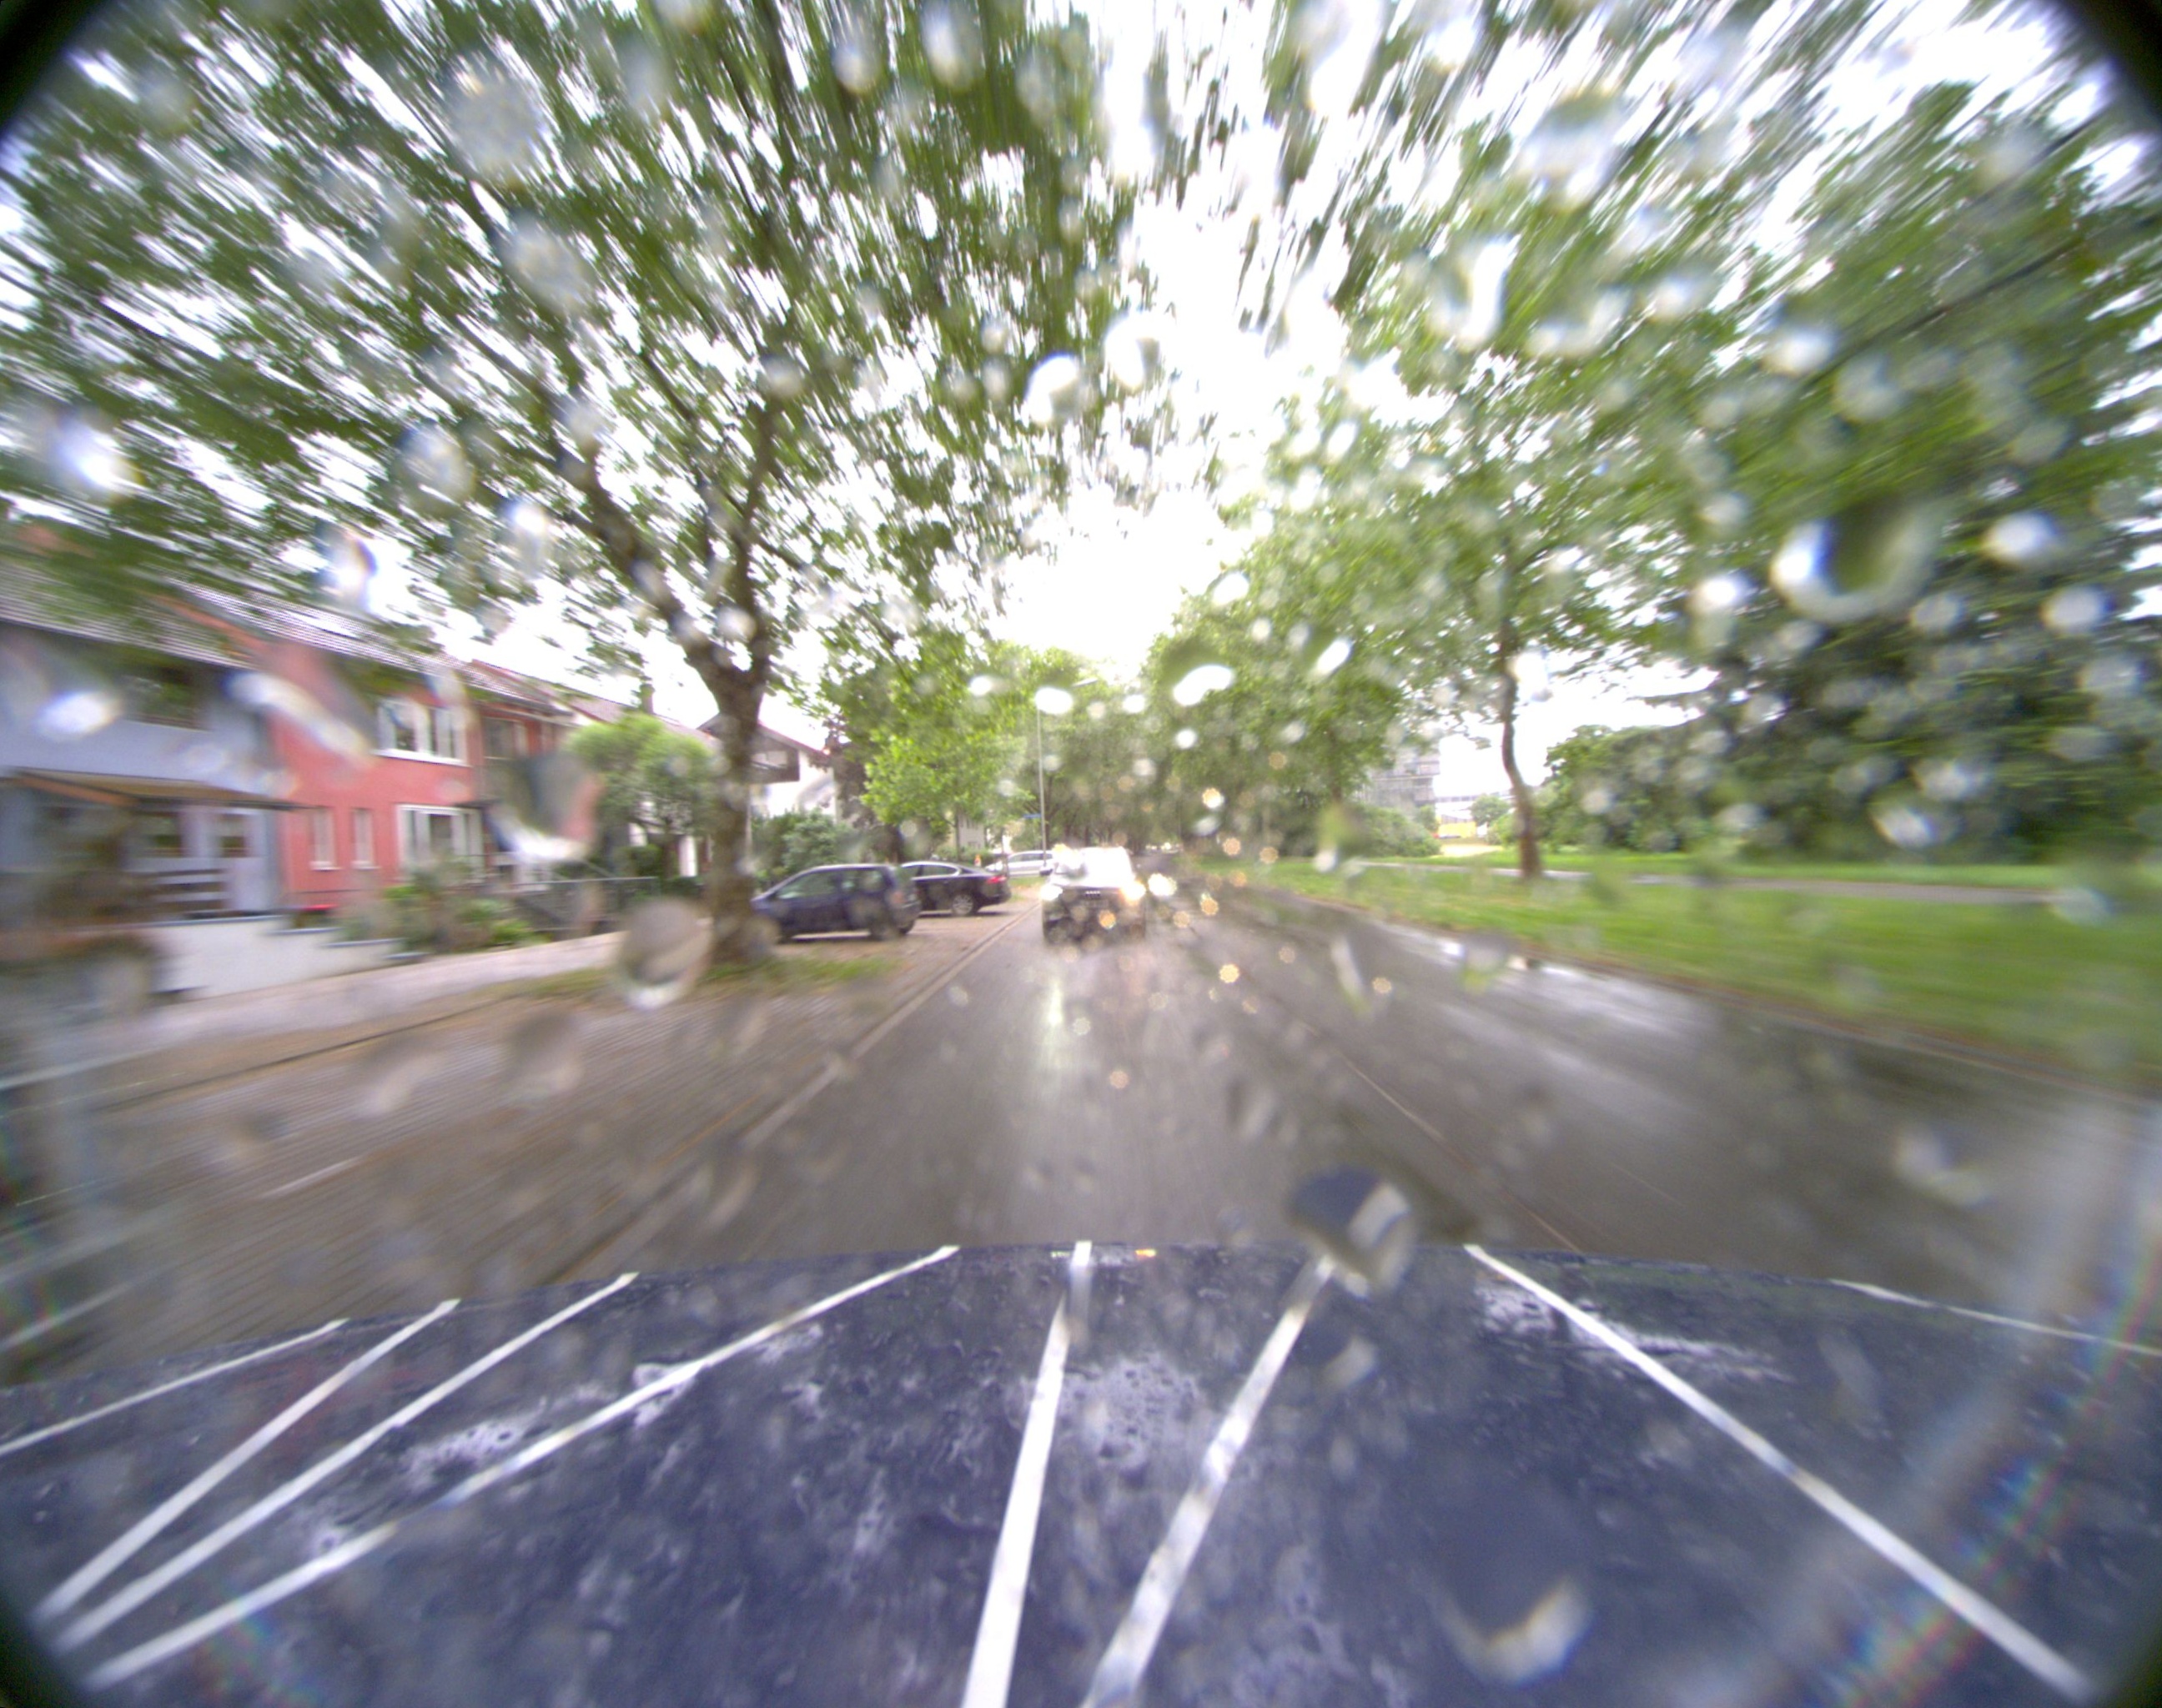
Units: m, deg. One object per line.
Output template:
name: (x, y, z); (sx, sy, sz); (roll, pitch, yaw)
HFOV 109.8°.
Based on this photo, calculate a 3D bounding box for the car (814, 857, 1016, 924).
car: (-4.149, 0.907, 19.637); (4.778, 1.464, 1.937); (-2, 0, -1)

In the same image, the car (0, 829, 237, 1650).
car: (-5.037, 0.938, 1.046); (5.353, 1.796, 1.844); (-2, 1, -4)

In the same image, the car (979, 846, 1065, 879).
car: (-3.350, 0.485, 43.798); (4.700, 1.651, 1.976); (-2, 0, 1)

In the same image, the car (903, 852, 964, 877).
car: (-10.481, 0.721, 54.207); (3.852, 1.603, 1.843); (-2, 0, 5)

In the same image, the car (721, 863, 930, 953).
car: (-4.795, 0.997, 14.557); (3.363, 1.455, 1.619); (-3, 1, 2)

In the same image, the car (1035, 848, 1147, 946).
car: (0.309, 0.731, 15.254); (1.862, 1.608, 4.424); (-2, 0, 3)
